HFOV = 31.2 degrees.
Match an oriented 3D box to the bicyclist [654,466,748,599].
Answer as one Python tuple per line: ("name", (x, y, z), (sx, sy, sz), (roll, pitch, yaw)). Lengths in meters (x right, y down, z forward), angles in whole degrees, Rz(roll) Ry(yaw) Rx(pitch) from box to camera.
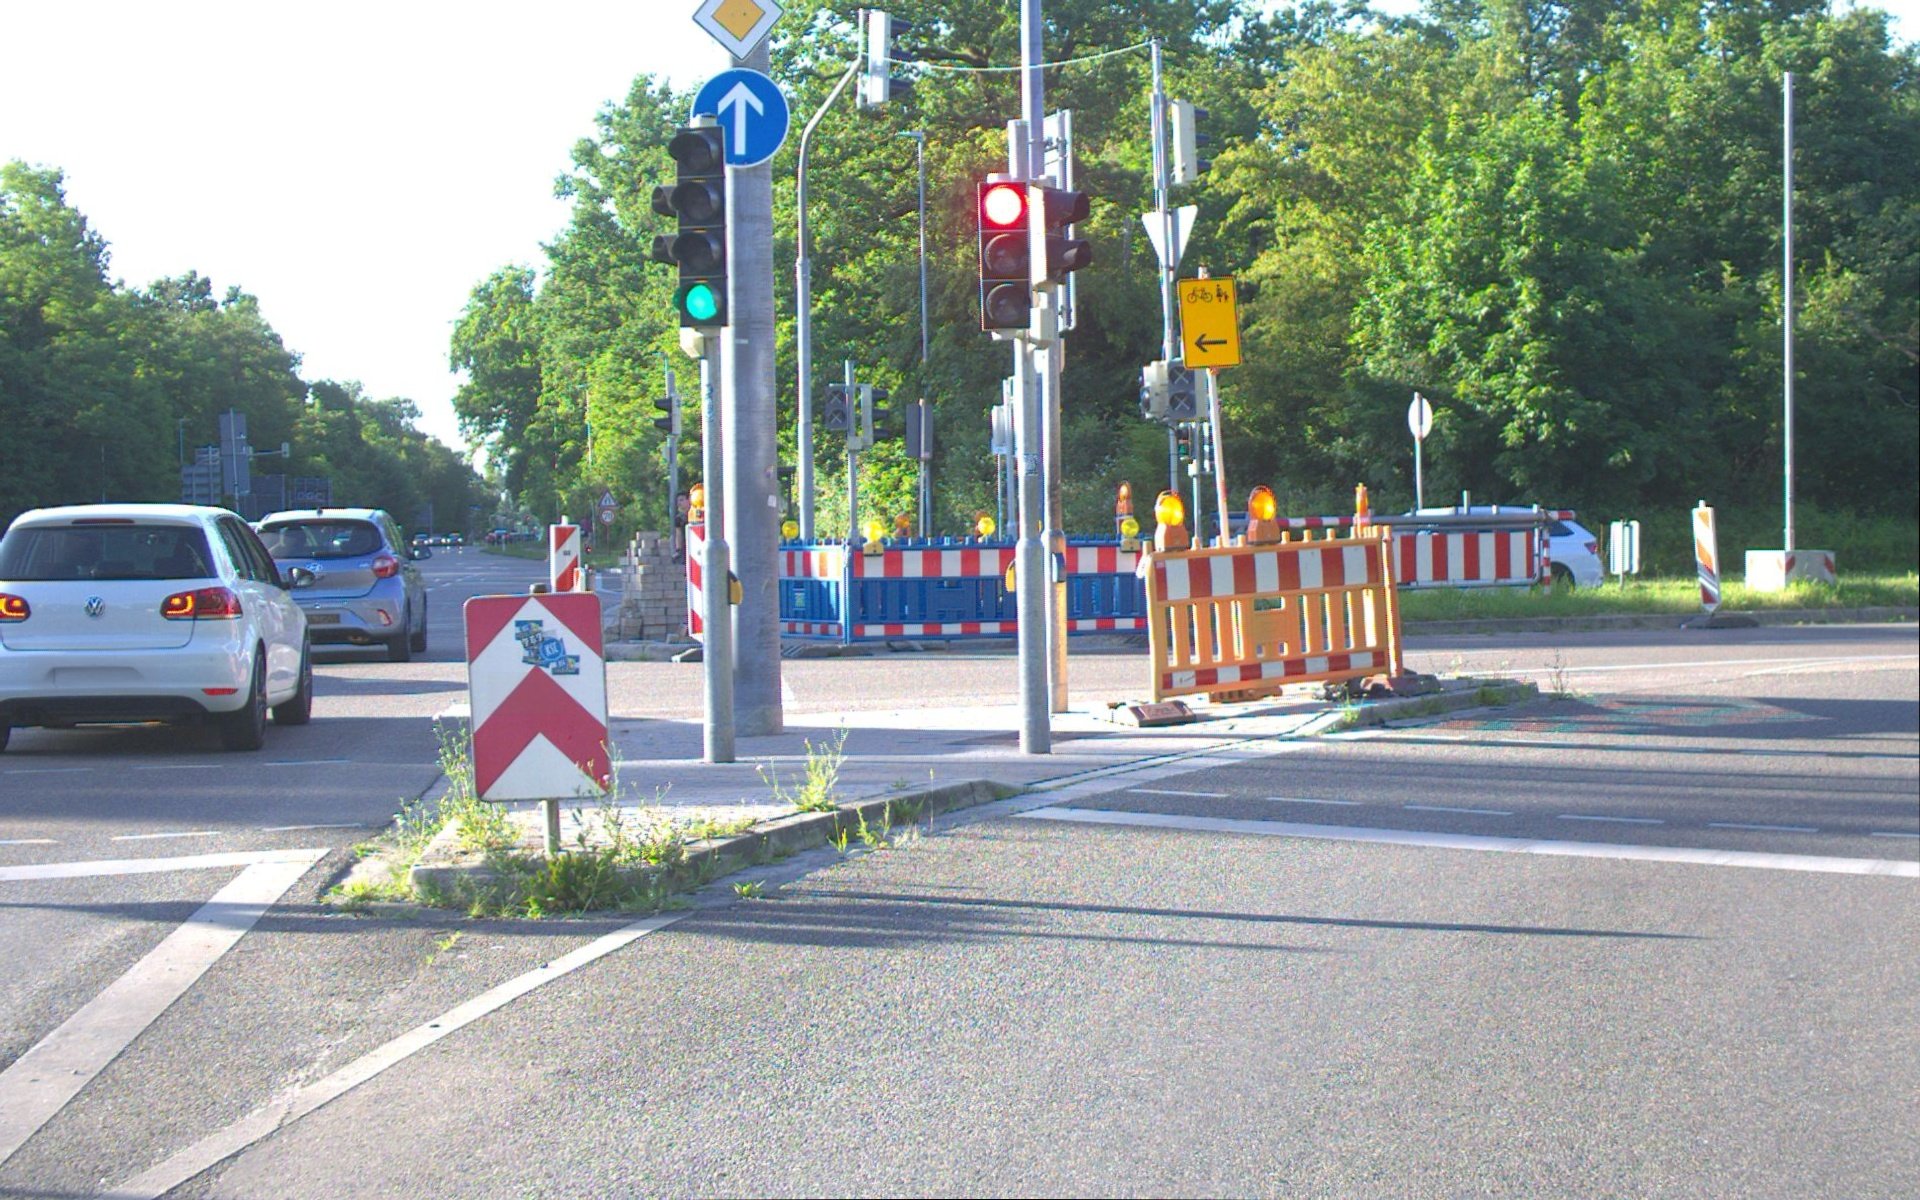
("bicyclist", (-3.787, -0.995, 50.219), (1.013, 1.923, 0.968), (-1, 2, -36))

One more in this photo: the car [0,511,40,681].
("car", (-9.075, -0.024, 28.919), (1.863, 1.439, 4.001), (0, 1, -4))

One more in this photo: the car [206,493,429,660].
("car", (-6.355, -0.275, 34.371), (1.993, 1.531, 4.001), (-1, 2, -8))

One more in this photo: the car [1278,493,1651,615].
("car", (7.027, -0.663, 47.828), (4.817, 1.575, 2.000), (-2, 2, -25))

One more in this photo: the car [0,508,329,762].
("car", (-5.134, 0.152, 21.504), (1.940, 1.409, 4.001), (-1, 2, -5))
